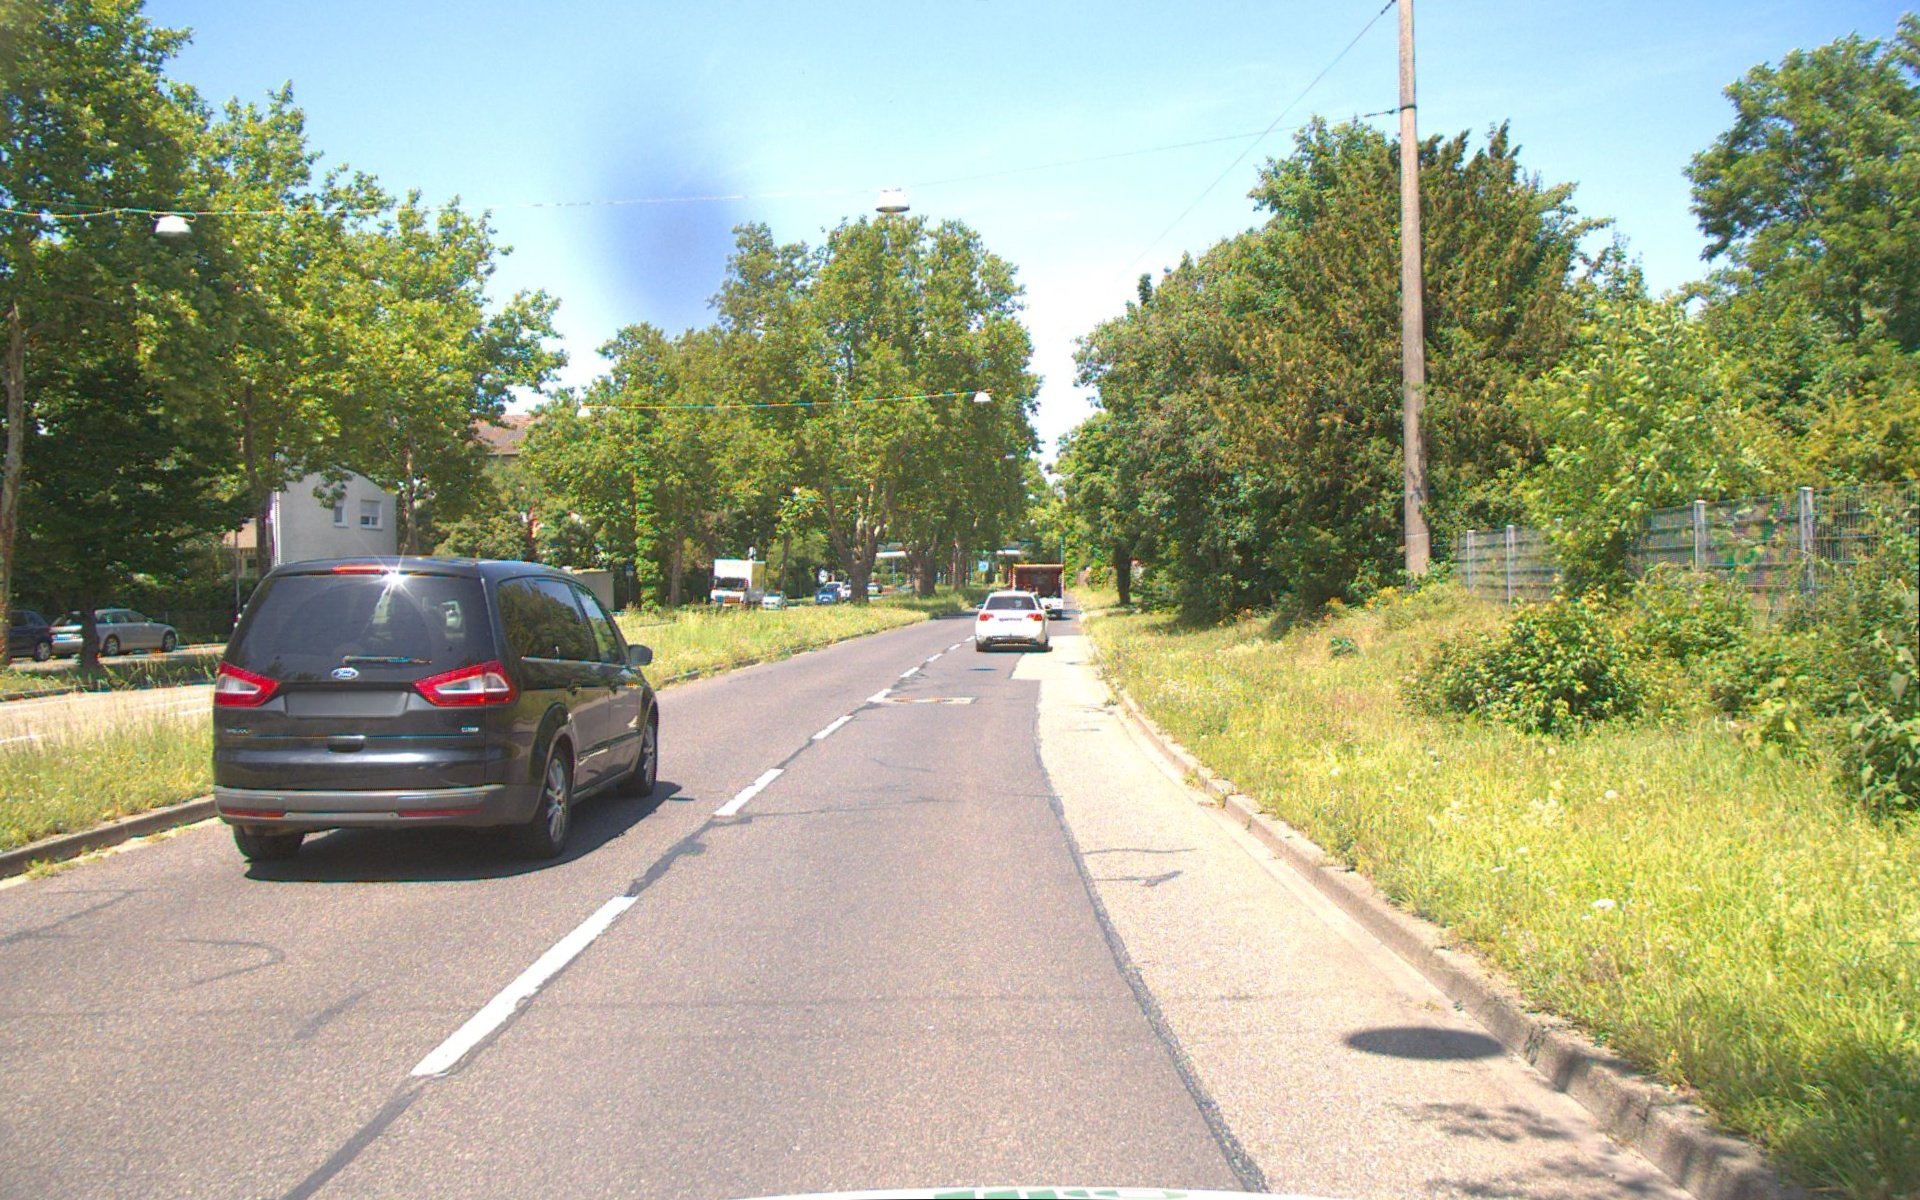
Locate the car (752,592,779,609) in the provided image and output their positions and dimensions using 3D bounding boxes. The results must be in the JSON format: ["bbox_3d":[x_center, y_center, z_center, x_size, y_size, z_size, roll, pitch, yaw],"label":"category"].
[{"bbox_3d":[-14.776,0.053,125.919,1.877,1.231,4.331,-1,0,-5],"label":"car"}]

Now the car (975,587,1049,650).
[{"bbox_3d":[1.317,0.428,40.616,1.725,1.470,3.617,0,0,3],"label":"car"}]

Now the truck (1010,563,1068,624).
[{"bbox_3d":[3.506,-0.354,75.047,2.459,2.604,7.605,1,1,2],"label":"truck"}]

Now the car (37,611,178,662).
[{"bbox_3d":[-26.057,1.101,50.709,1.841,1.400,4.004,-1,1,9],"label":"car"}]

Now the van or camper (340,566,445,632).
[{"bbox_3d":[-23.980,-0.087,70.138,2.136,2.632,5.312,-1,1,5],"label":"van or camper"}]

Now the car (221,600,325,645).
[{"bbox_3d":[-25.100,0.802,60.561,1.842,1.500,4.002,-1,0,5],"label":"car"}]

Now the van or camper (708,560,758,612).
[{"bbox_3d":[-15.157,-0.945,110.900,2.606,3.389,5.500,-1,0,-1],"label":"van or camper"}]

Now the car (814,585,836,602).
[{"bbox_3d":[-11.109,-0.518,135.824,1.737,1.355,3.656,0,0,-5],"label":"car"}]

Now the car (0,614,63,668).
[{"bbox_3d":[-26.788,1.150,45.175,1.841,1.417,4.004,-1,1,11],"label":"car"}]

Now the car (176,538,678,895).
[{"bbox_3d":[-3.088,0.568,10.689,1.816,1.786,4.647,0,0,-1],"label":"car"}]
